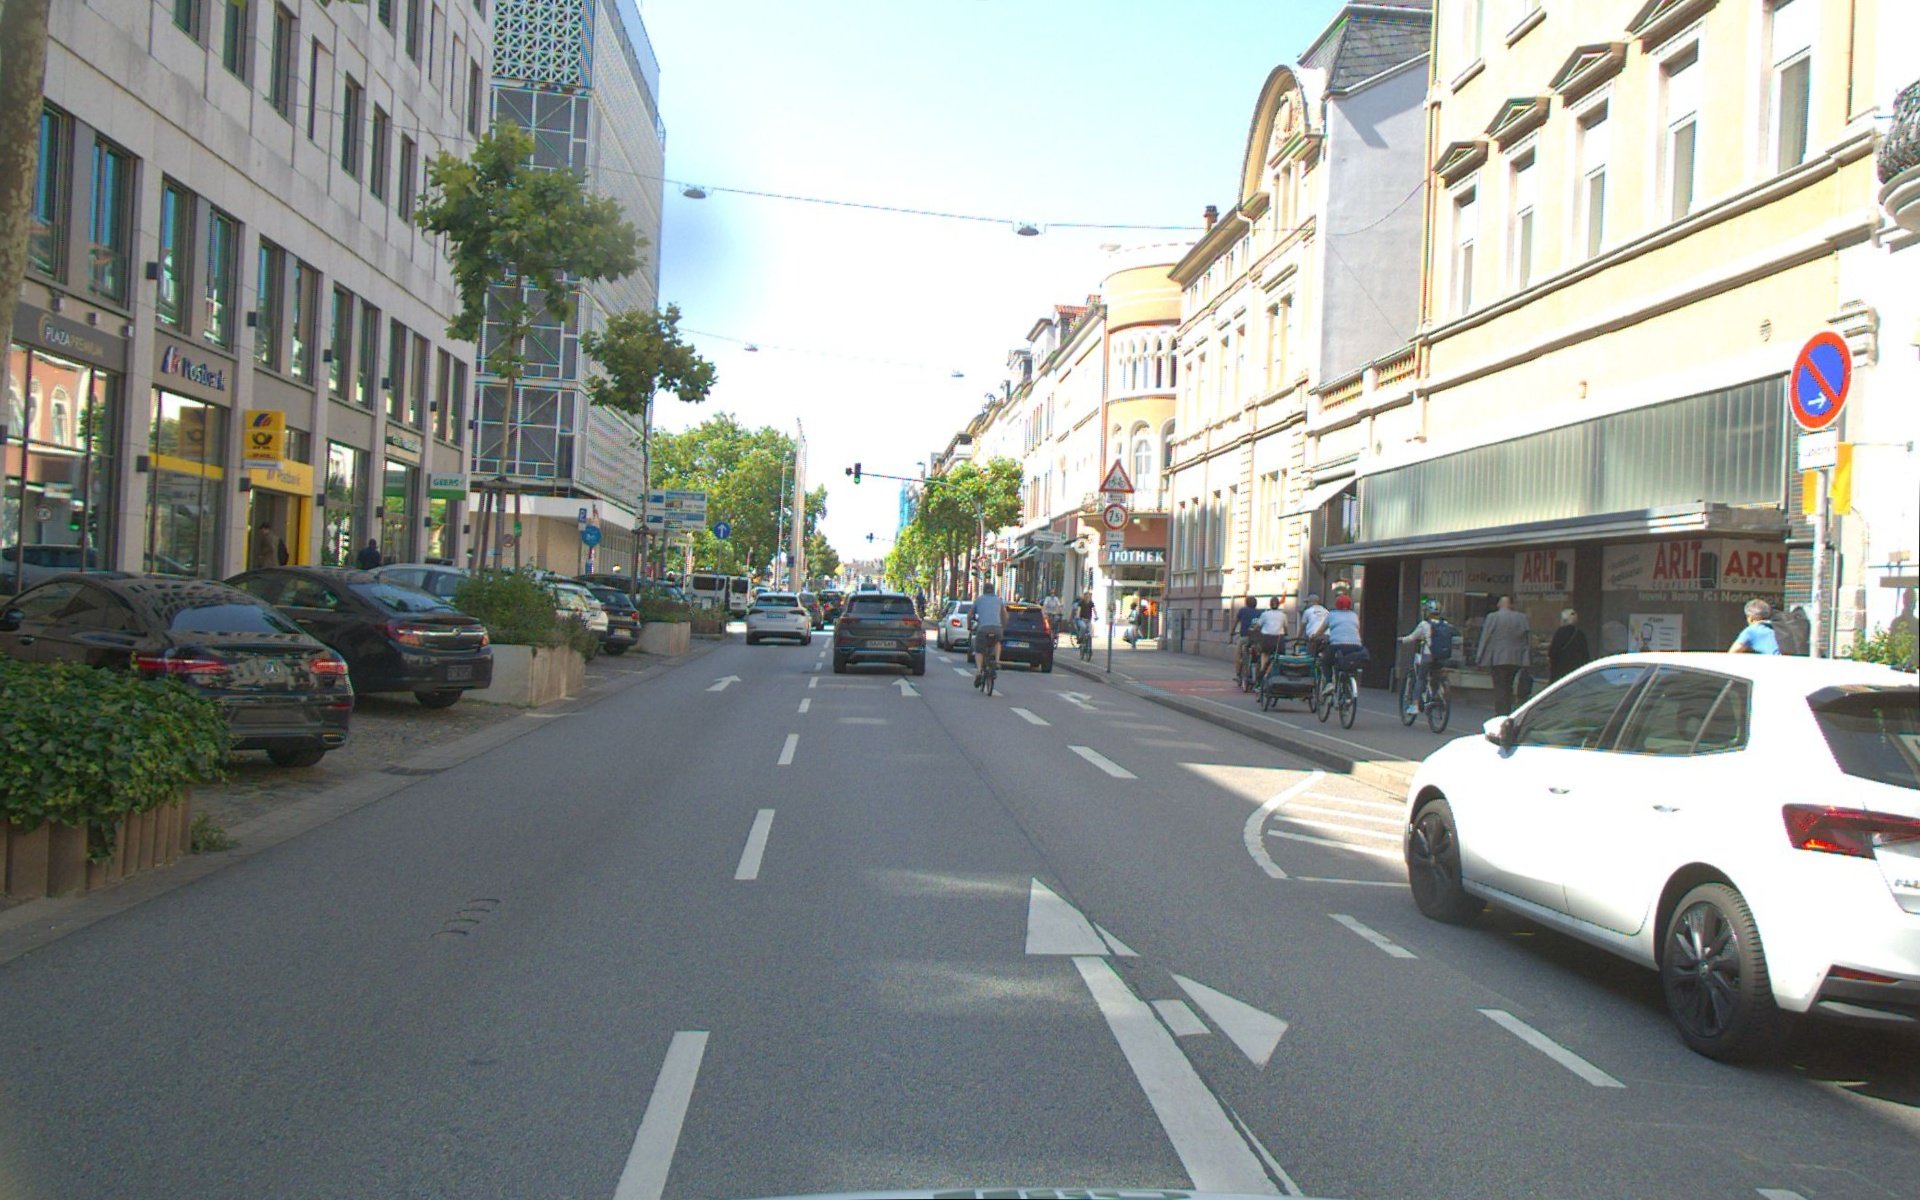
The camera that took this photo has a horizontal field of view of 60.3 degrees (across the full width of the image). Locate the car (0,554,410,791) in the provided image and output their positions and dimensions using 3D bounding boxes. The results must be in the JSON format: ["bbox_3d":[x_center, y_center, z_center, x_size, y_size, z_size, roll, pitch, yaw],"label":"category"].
[{"bbox_3d":[-6.616,0.468,13.443,4.566,1.432,1.897,5,1,40],"label":"car"}]

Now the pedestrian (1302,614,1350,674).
[{"bbox_3d":[7.992,0.953,36.135,0.917,1.291,0.568,0,0,2],"label":"pedestrian"}]

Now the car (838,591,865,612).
[{"bbox_3d":[-7.942,0.119,120.512,1.826,1.466,3.996,2,0,-5],"label":"car"}]

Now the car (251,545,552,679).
[{"bbox_3d":[-8.356,0.183,25.067,3.914,1.526,1.714,7,-1,-8],"label":"car"}]

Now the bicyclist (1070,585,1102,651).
[{"bbox_3d":[3.303,0.482,43.472,0.680,1.703,0.835,2,-3,-3],"label":"bicyclist"}]

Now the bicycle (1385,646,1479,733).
[{"bbox_3d":[6.272,1.168,22.067,0.552,1.013,2.102,2,0,-2],"label":"bicycle"}]

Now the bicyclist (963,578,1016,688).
[{"bbox_3d":[0.472,0.523,27.053,0.681,1.702,0.915,5,1,-3],"label":"bicyclist"}]

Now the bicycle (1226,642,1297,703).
[{"bbox_3d":[4.963,1.174,27.344,0.634,0.895,2.388,2,0,-2],"label":"bicycle"}]

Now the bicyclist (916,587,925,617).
[{"bbox_3d":[-2.219,0.126,92.916,0.411,1.658,0.708,2,0,-2],"label":"bicyclist"}]

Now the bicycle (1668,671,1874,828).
[{"bbox_3d":[6.967,1.248,14.343,0.634,1.139,2.102,2,0,-3],"label":"bicycle"}]

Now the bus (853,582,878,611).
[{"bbox_3d":[-12.772,-0.503,223.363,2.717,3.668,8.960,2,0,-7],"label":"bus"}]

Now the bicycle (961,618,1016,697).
[{"bbox_3d":[0.444,0.911,27.155,0.651,1.139,2.242,4,0,-4],"label":"bicycle"}]

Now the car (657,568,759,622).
[{"bbox_3d":[-11.996,-0.248,78.490,4.633,2.038,1.934,6,-1,36],"label":"car"}]

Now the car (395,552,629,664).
[{"bbox_3d":[-8.514,0.150,31.461,3.908,1.594,1.700,7,0,21],"label":"car"}]

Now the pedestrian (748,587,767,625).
[{"bbox_3d":[-8.846,0.268,72.195,0.606,1.643,0.544,3,-2,-34],"label":"pedestrian"}]

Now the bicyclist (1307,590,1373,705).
[{"bbox_3d":[5.121,0.624,22.334,0.612,1.502,0.889,2,0,-2],"label":"bicyclist"}]

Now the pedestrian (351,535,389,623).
[{"bbox_3d":[-13.971,-0.491,39.195,0.611,2.049,0.700,2,0,-3],"label":"pedestrian"}]

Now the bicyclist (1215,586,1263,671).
[{"bbox_3d":[5.491,0.547,32.575,0.695,1.623,0.963,2,0,-2],"label":"bicyclist"}]

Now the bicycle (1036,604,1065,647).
[{"bbox_3d":[2.823,0.776,51.728,0.544,1.230,2.242,5,0,-4],"label":"bicycle"}]

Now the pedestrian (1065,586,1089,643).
[{"bbox_3d":[3.894,0.478,55.155,0.639,1.841,0.729,2,0,-5],"label":"pedestrian"}]

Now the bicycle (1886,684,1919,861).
[{"bbox_3d":[6.635,1.157,10.229,0.544,1.140,2.071,0,1,-4],"label":"bicycle"}]

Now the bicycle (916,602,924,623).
[{"bbox_3d":[-2.235,0.673,92.837,0.411,1.155,1.909,2,0,-2],"label":"bicycle"}]

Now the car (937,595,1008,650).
[{"bbox_3d":[0.327,0.629,47.772,1.786,1.409,3.998,2,1,-3],"label":"car"}]

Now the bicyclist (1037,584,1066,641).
[{"bbox_3d":[2.880,0.380,51.993,0.681,1.702,0.835,5,1,-3],"label":"bicyclist"}]

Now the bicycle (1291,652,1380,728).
[{"bbox_3d":[5.088,1.201,22.527,0.634,0.895,2.102,2,0,-2],"label":"bicycle"}]

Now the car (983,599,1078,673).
[{"bbox_3d":[1.583,0.795,38.042,1.786,1.433,3.185,5,1,-3],"label":"car"}]

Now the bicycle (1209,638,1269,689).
[{"bbox_3d":[5.460,1.233,32.495,0.725,0.895,2.137,2,0,-2],"label":"bicycle"}]

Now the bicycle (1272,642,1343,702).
[{"bbox_3d":[5.793,1.184,27.674,0.634,0.895,2.102,2,0,-2],"label":"bicycle"}]

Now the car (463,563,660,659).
[{"bbox_3d":[-8.399,0.226,34.746,3.920,1.484,1.665,7,0,33],"label":"car"}]

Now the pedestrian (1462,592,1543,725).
[{"bbox_3d":[7.396,0.786,22.582,0.859,1.748,0.836,2,0,8],"label":"pedestrian"}]

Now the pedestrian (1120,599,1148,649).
[{"bbox_3d":[6.126,0.841,58.385,0.776,1.750,0.728,2,0,-9],"label":"pedestrian"}]

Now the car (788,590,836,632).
[{"bbox_3d":[-5.563,0.378,62.372,1.709,1.466,3.996,2,0,-4],"label":"car"}]

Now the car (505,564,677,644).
[{"bbox_3d":[-9.262,0.093,41.748,3.912,1.526,1.715,7,-1,-6],"label":"car"}]

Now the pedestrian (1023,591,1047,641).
[{"bbox_3d":[2.815,0.603,62.074,0.711,1.840,0.654,2,0,13],"label":"pedestrian"}]

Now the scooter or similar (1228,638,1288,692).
[{"bbox_3d":[5.540,1.197,30.798,0.836,0.935,1.164,2,0,-2],"label":"scooter or similar"}]

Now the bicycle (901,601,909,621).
[{"bbox_3d":[-3.191,0.627,95.253,0.411,1.155,1.909,2,0,-2],"label":"bicycle"}]

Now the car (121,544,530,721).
[{"bbox_3d":[-7.172,0.334,18.663,4.258,1.539,1.831,5,0,26],"label":"car"}]

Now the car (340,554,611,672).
[{"bbox_3d":[-8.154,0.219,27.952,3.904,1.515,1.785,6,0,13],"label":"car"}]

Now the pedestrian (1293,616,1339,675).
[{"bbox_3d":[7.943,1.004,36.893,0.917,1.291,0.568,0,0,2],"label":"pedestrian"}]

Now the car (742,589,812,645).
[{"bbox_3d":[-5.186,0.463,47.212,1.826,1.466,3.996,2,0,-5],"label":"car"}]

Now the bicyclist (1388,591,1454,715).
[{"bbox_3d":[6.216,0.699,22.334,0.571,1.623,0.920,2,0,-2],"label":"bicyclist"}]

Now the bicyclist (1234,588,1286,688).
[{"bbox_3d":[4.984,0.621,27.547,0.619,1.623,0.920,2,-1,-2],"label":"bicyclist"}]

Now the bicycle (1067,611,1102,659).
[{"bbox_3d":[3.264,0.905,43.522,0.544,1.139,2.242,4,0,-4],"label":"bicycle"}]

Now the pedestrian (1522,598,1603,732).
[{"bbox_3d":[7.971,0.845,21.913,0.634,1.714,0.944,2,0,-3],"label":"pedestrian"}]

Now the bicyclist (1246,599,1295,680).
[{"bbox_3d":[5.003,0.627,26.667,0.611,1.270,0.607,2,0,-2],"label":"bicyclist"}]

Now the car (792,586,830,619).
[{"bbox_3d":[-7.151,0.113,79.682,1.709,1.466,3.996,2,0,-4],"label":"car"}]

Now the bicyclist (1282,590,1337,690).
[{"bbox_3d":[5.816,0.661,27.589,0.644,1.623,0.920,2,0,-2],"label":"bicyclist"}]

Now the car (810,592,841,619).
[{"bbox_3d":[-7.879,0.297,97.029,1.709,1.466,3.996,2,0,-4],"label":"car"}]

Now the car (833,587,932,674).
[{"bbox_3d":[-1.568,0.560,32.638,1.797,1.554,3.997,2,0,-4],"label":"car"}]

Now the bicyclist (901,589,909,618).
[{"bbox_3d":[-3.157,0.185,95.115,0.411,1.658,0.668,2,0,-2],"label":"bicyclist"}]

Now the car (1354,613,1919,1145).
[{"bbox_3d":[3.473,0.934,7.439,1.778,1.491,4.574,4,1,-7],"label":"car"}]

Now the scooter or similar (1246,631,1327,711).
[{"bbox_3d":[4.979,1.064,25.330,0.853,1.141,1.620,1,0,-2],"label":"scooter or similar"}]

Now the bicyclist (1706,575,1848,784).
[{"bbox_3d":[7.013,0.663,14.238,0.634,1.714,1.012,2,0,-3],"label":"bicyclist"}]
